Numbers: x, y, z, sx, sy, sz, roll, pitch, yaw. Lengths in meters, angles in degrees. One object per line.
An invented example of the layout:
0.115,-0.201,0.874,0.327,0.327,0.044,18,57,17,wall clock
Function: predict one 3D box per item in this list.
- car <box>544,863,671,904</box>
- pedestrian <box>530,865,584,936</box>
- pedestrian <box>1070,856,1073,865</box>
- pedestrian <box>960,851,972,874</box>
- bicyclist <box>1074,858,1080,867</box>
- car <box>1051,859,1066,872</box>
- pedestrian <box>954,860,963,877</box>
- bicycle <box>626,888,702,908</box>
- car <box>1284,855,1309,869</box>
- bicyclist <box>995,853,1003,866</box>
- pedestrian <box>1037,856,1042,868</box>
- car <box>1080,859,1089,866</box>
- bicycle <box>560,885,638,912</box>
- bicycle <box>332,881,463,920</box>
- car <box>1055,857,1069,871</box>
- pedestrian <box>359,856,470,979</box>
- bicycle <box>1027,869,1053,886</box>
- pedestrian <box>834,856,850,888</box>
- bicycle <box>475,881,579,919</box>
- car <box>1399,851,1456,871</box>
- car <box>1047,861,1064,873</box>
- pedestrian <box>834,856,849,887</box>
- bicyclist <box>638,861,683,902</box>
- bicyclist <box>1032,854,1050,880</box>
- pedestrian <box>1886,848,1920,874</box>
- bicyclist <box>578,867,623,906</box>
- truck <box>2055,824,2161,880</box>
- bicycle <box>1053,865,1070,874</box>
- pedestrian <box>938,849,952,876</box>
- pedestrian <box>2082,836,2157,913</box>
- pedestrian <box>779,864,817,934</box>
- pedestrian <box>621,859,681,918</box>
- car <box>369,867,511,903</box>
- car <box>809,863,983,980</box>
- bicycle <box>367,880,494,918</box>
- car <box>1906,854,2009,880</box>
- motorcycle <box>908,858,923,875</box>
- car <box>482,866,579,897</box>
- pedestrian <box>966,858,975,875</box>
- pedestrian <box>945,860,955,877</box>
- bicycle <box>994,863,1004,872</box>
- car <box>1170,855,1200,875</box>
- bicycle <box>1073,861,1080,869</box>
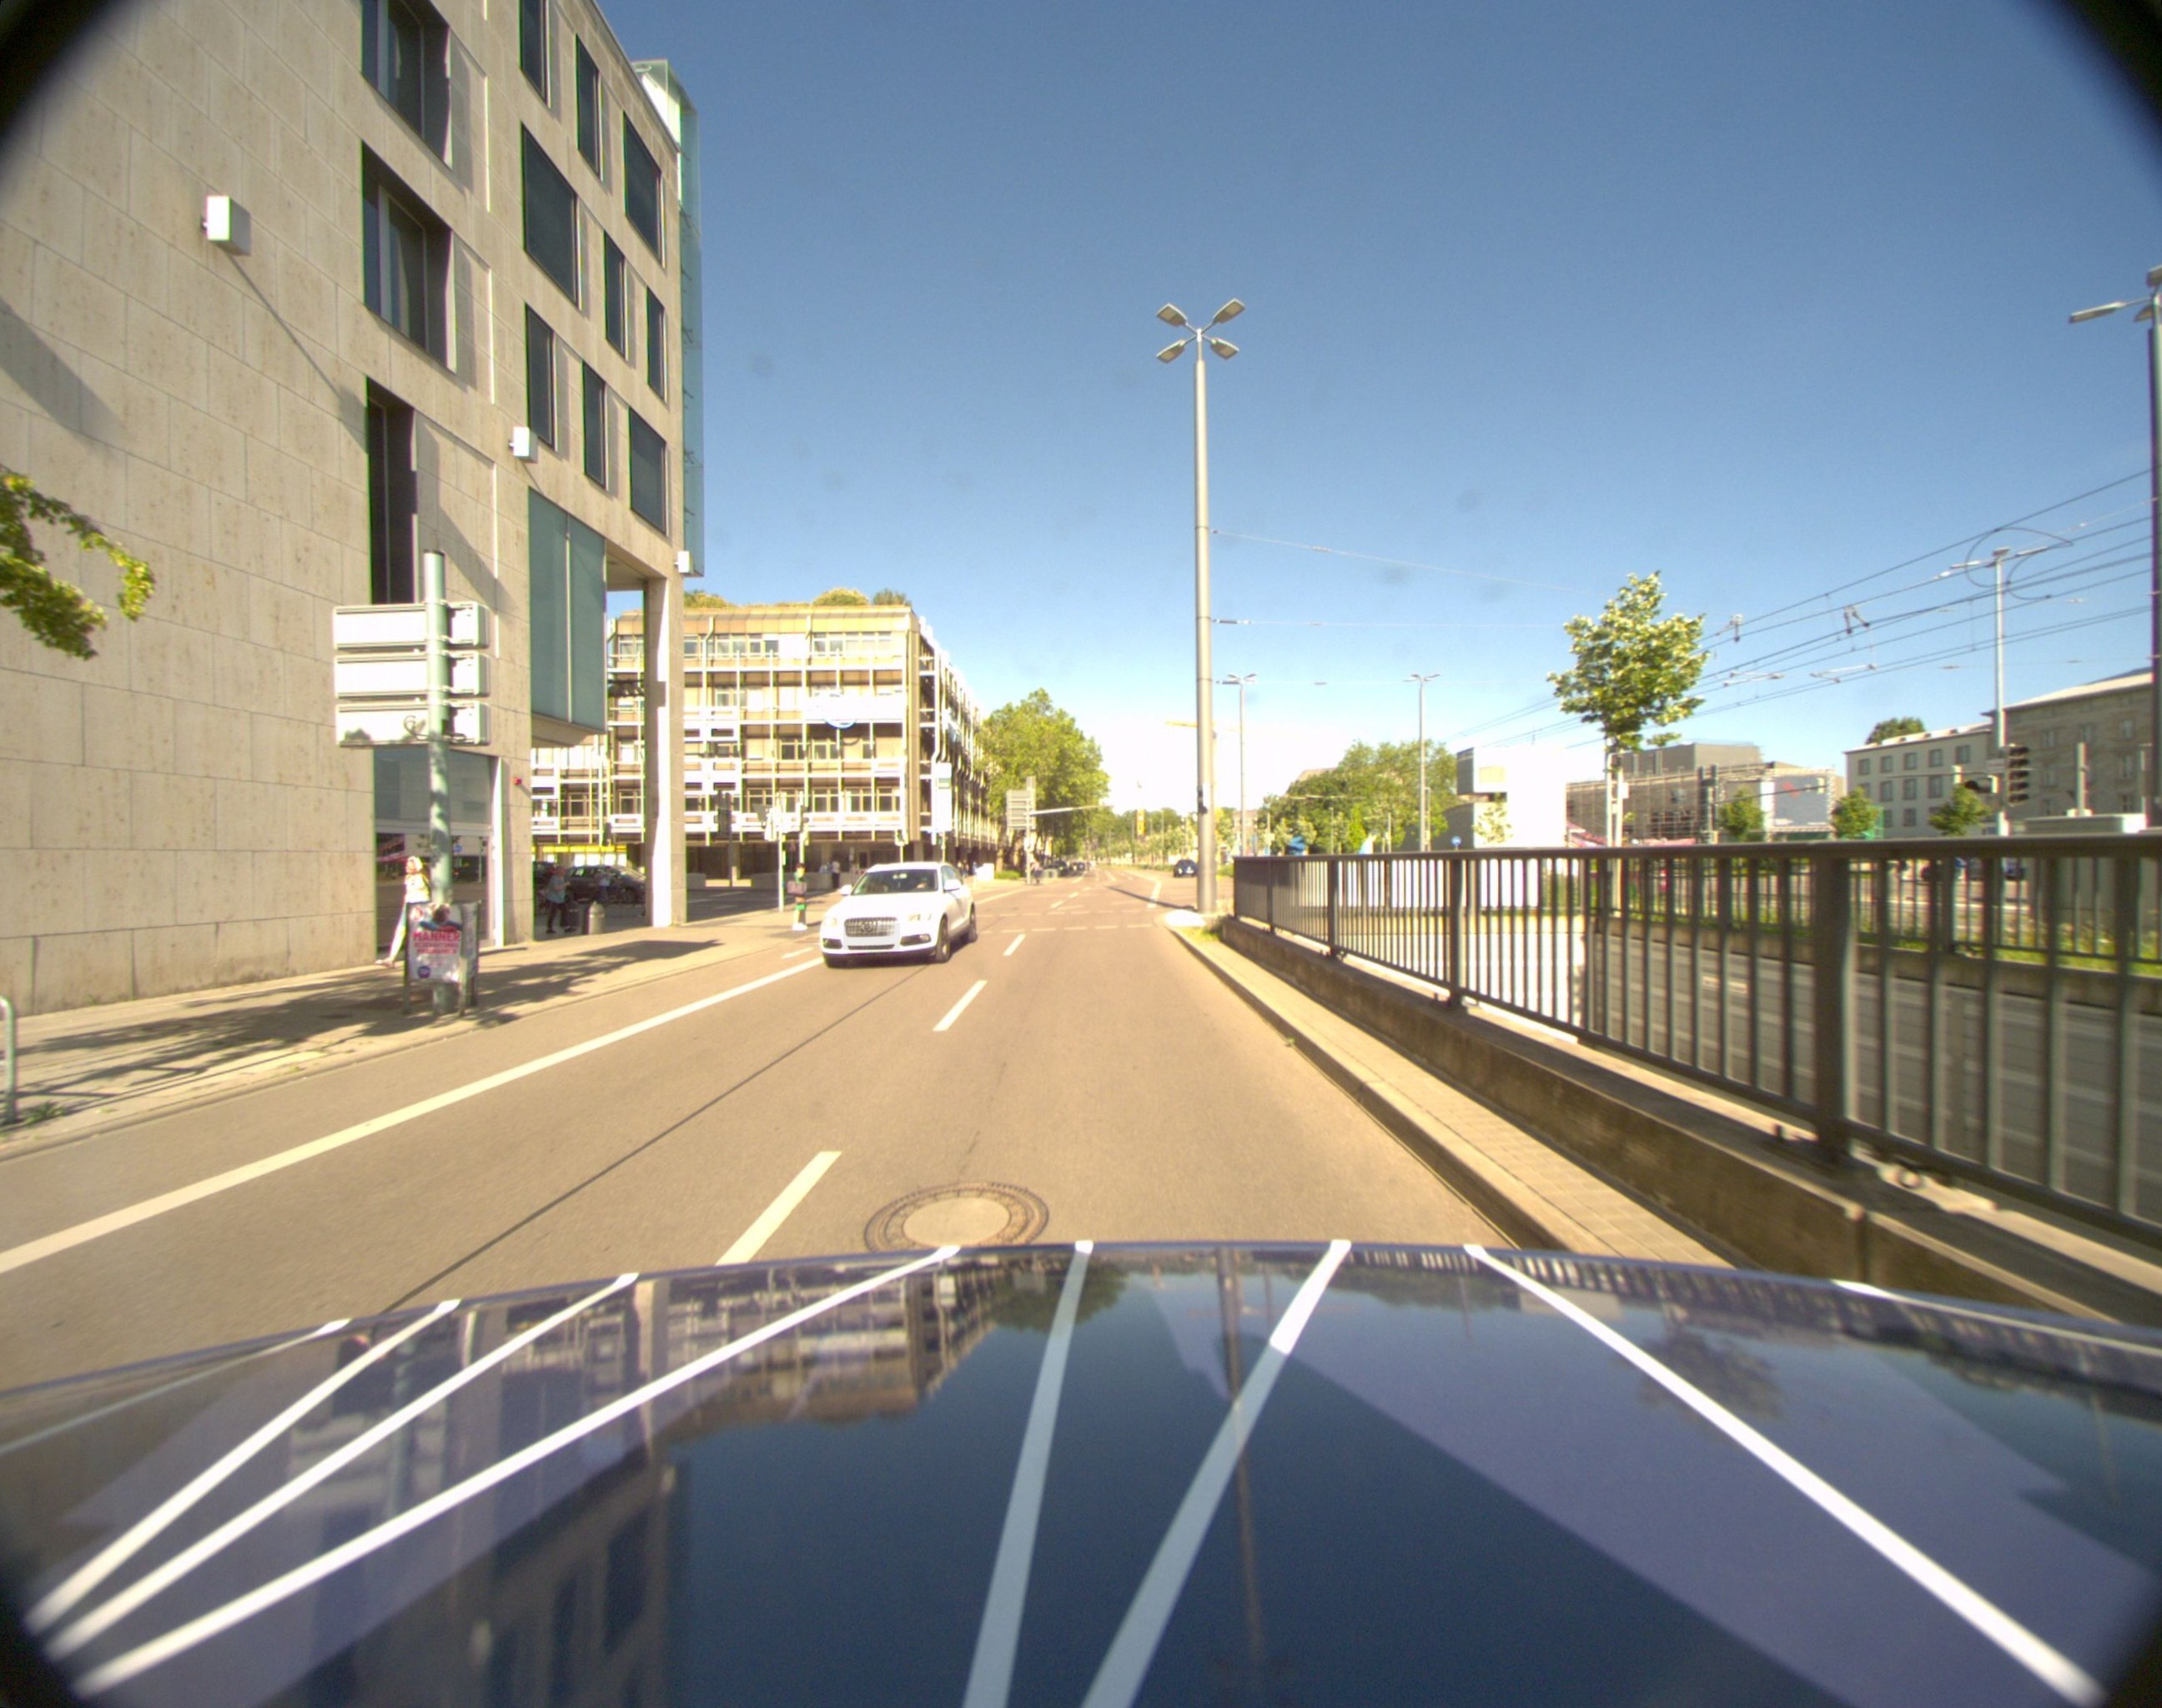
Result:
-19.892,1.223,32.041,4.194,1.603,1.861,-1,2,3,car
-12.138,1.065,17.627,0.725,1.598,0.750,0,-1,2,pedestrian
-2.068,1.445,169.209,0.591,1.829,0.569,-1,0,1,pedestrian
-9.965,0.761,65.963,0.949,2.002,1.079,-1,0,-6,pedestrian
-0.652,1.255,113.121,0.830,1.380,0.904,-1,0,1,bicyclist
-2.930,1.460,99.827,1.752,1.624,4.337,1,0,1,car
-11.475,1.353,71.195,0.667,1.591,0.728,2,0,2,pedestrian
-15.283,1.622,27.898,2.197,0.667,1.072,0,0,5,bicycle
27.697,1.014,97.605,1.998,1.697,4.560,-1,0,1,car
-9.360,0.668,86.723,0.883,1.468,0.883,-1,0,1,bicyclist
-6.750,1.317,123.381,0.741,2.002,0.626,-1,0,3,pedestrian
0.755,1.931,179.984,1.999,1.597,3.896,-1,0,-1,car
-17.792,1.649,28.082,2.197,0.938,1.072,0,0,5,bicycle
-22.739,1.506,25.452,1.068,1.087,3.498,-1,0,4,bicycle
-2.600,1.352,105.590,1.752,1.810,4.337,1,0,1,car
-10.185,0.932,11.661,0.729,1.791,1.066,1,0,1,pedestrian
-2.754,1.578,51.223,0.710,0.987,1.927,-3,0,32,bicycle
-12.397,0.919,39.366,0.662,1.603,0.526,1,0,-8,pedestrian
-17.963,1.461,24.771,1.068,1.087,2.992,-1,0,3,bicycle
27.651,0.553,60.854,1.999,1.552,4.828,-1,0,-5,car
-3.091,1.573,93.074,1.752,1.481,4.560,1,0,1,car
-12.607,0.933,39.989,0.662,1.603,0.526,1,0,-8,pedestrian
-15.417,0.993,27.892,1.024,1.467,1.072,0,0,5,bicyclist
-2.706,0.891,51.328,0.710,1.677,0.854,-3,0,33,bicyclist
55.157,0.476,51.010,1.195,1.675,0.948,-1,-1,2,pedestrian
-17.757,1.187,28.083,0.935,1.388,1.077,0,0,5,bicyclist
55.523,-0.135,38.636,8.024,2.776,2.464,-1,0,6,truck
-2.172,1.744,84.984,1.848,0.954,0.711,1,0,-3,bicycle
-10.184,0.664,56.885,0.950,2.002,1.078,-1,0,-10,pedestrian
25.232,0.480,18.481,0.800,1.812,0.884,-1,0,33,pedestrian
-7.069,1.105,19.005,0.658,1.692,0.698,2,0,-1,pedestrian
-13.646,1.076,24.162,0.969,1.791,1.523,1,0,1,pedestrian
-27.625,1.325,32.833,4.615,1.412,1.861,0,2,3,car
-3.015,1.022,13.412,1.824,1.604,4.412,-2,0,1,car
-21.576,1.460,25.364,1.068,1.087,3.498,-1,0,3,bicycle
54.655,0.809,47.464,3.995,1.530,1.904,-1,0,6,car
-14.569,1.102,66.848,0.825,1.433,2.122,-1,0,1,motorcycle
-32.411,1.599,44.794,4.408,1.689,1.791,-1,0,2,car
-10.337,1.142,71.035,0.667,1.591,0.728,2,0,2,pedestrian
-12.283,1.328,71.156,0.667,1.591,1.009,2,0,2,pedestrian
-9.352,1.490,86.772,0.883,0.979,2.051,-1,0,1,bicycle
8.830,0.933,64.561,1.775,1.579,4.087,-2,0,-2,car
-0.656,1.597,113.118,0.845,1.123,2.553,-1,0,2,bicycle
